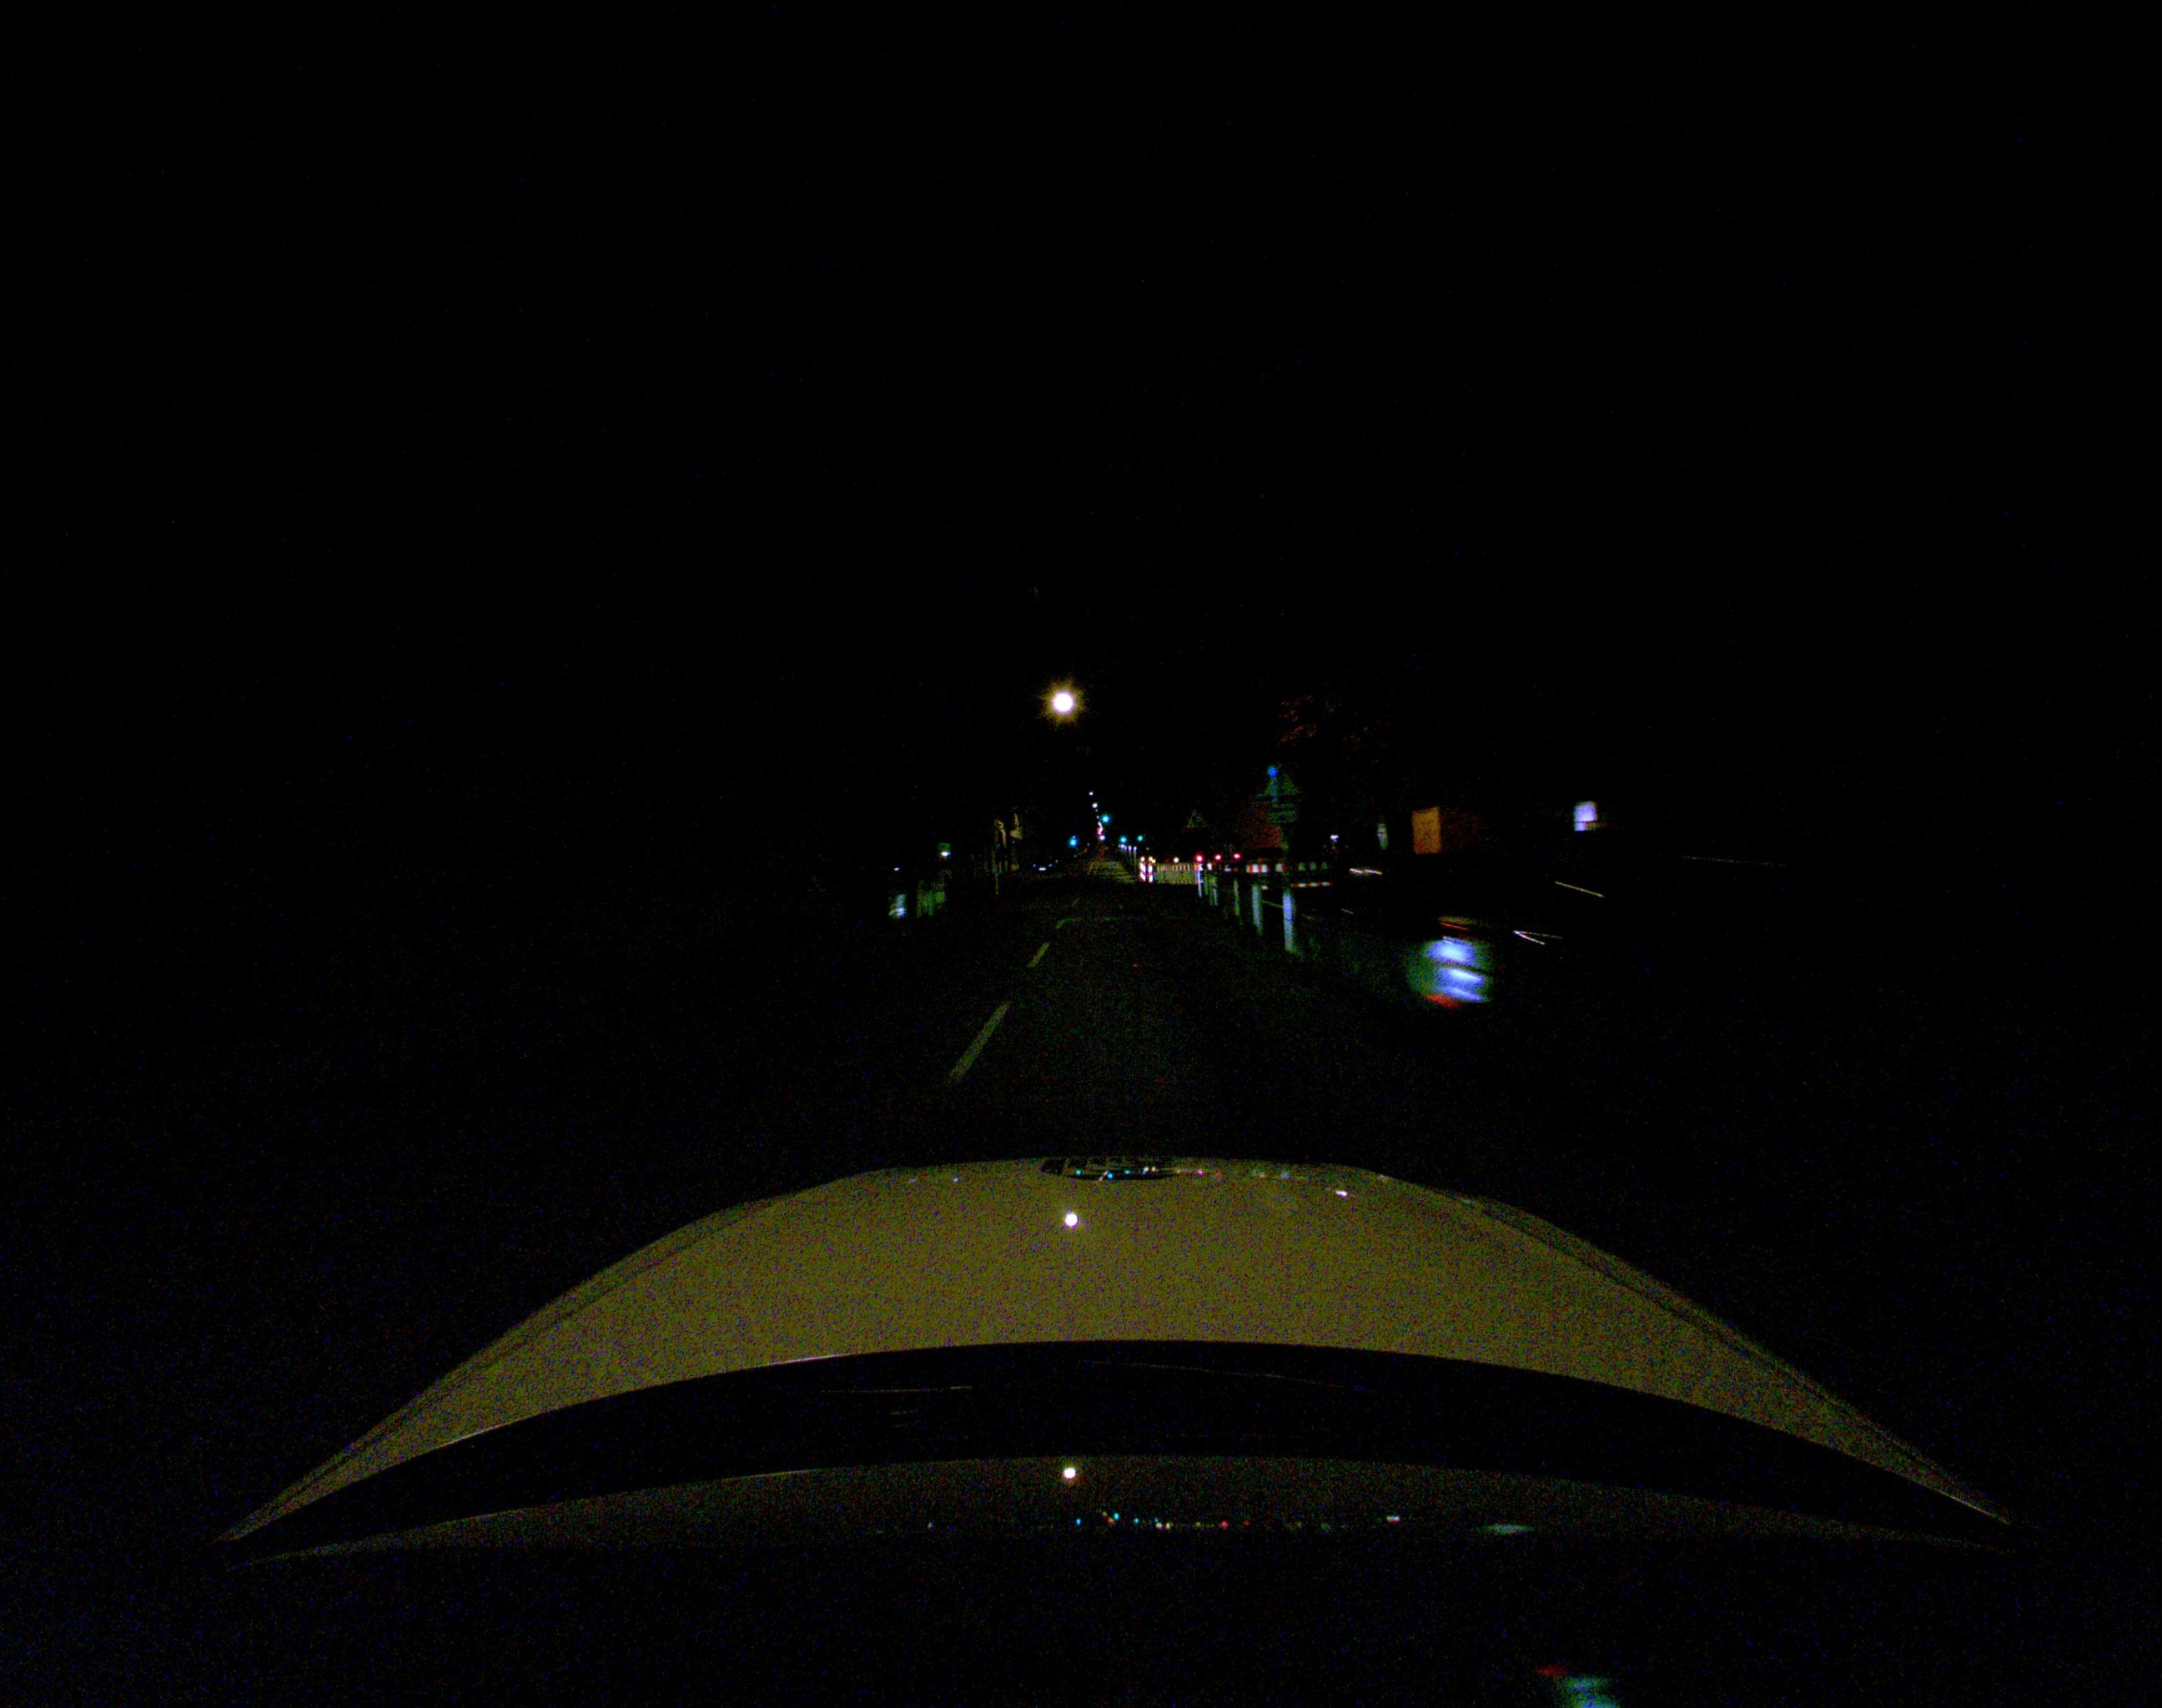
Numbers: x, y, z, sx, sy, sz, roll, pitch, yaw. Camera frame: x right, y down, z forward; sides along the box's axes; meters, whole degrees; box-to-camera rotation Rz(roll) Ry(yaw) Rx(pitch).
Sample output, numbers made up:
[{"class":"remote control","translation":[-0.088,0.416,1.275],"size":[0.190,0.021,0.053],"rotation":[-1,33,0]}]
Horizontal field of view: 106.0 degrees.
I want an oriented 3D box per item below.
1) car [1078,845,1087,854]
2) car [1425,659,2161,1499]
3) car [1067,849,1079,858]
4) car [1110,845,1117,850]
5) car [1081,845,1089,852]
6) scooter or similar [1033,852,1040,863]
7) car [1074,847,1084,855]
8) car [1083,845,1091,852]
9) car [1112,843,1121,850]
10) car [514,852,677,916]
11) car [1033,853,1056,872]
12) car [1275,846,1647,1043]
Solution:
[{"class":"car","translation":[0.384,-1.050,186.079],"size":[1.866,1.814,4.206],"rotation":[-2,1,1]},{"class":"car","translation":[3.225,0.464,3.329],"size":[1.730,1.855,4.316],"rotation":[-3,0,0]},{"class":"car","translation":[-1.415,-0.109,142.554],"size":[1.866,1.544,4.206],"rotation":[-2,0,1]},{"class":"car","translation":[9.333,-1.843,231.915],"size":[1.866,1.544,4.206],"rotation":[-2,0,1]},{"class":"car","translation":[1.006,-1.417,204.376],"size":[1.866,1.814,4.206],"rotation":[-3,0,1]},{"class":"scooter or similar","translation":[-5.244,0.430,96.588],"size":[0.526,1.165,2.508],"rotation":[-4,-1,1]},{"class":"car","translation":[-0.402,-0.704,180.047],"size":[1.866,1.544,4.206],"rotation":[-2,0,1]},{"class":"car","translation":[1.586,-1.630,222.330],"size":[1.866,1.814,4.208],"rotation":[-2,0,3]},{"class":"car","translation":[8.447,-1.689,192.957],"size":[1.866,1.544,4.206],"rotation":[-2,0,1]},{"class":"car","translation":[-21.340,1.327,36.013],"size":[5.826,2.544,2.246],"rotation":[-2,-3,0]},{"class":"car","translation":[-3.122,0.731,70.623],"size":[1.665,1.443,4.206],"rotation":[-2,0,2]},{"class":"car","translation":[3.419,0.693,8.376],"size":[1.722,1.419,4.322],"rotation":[-3,0,-1]}]
